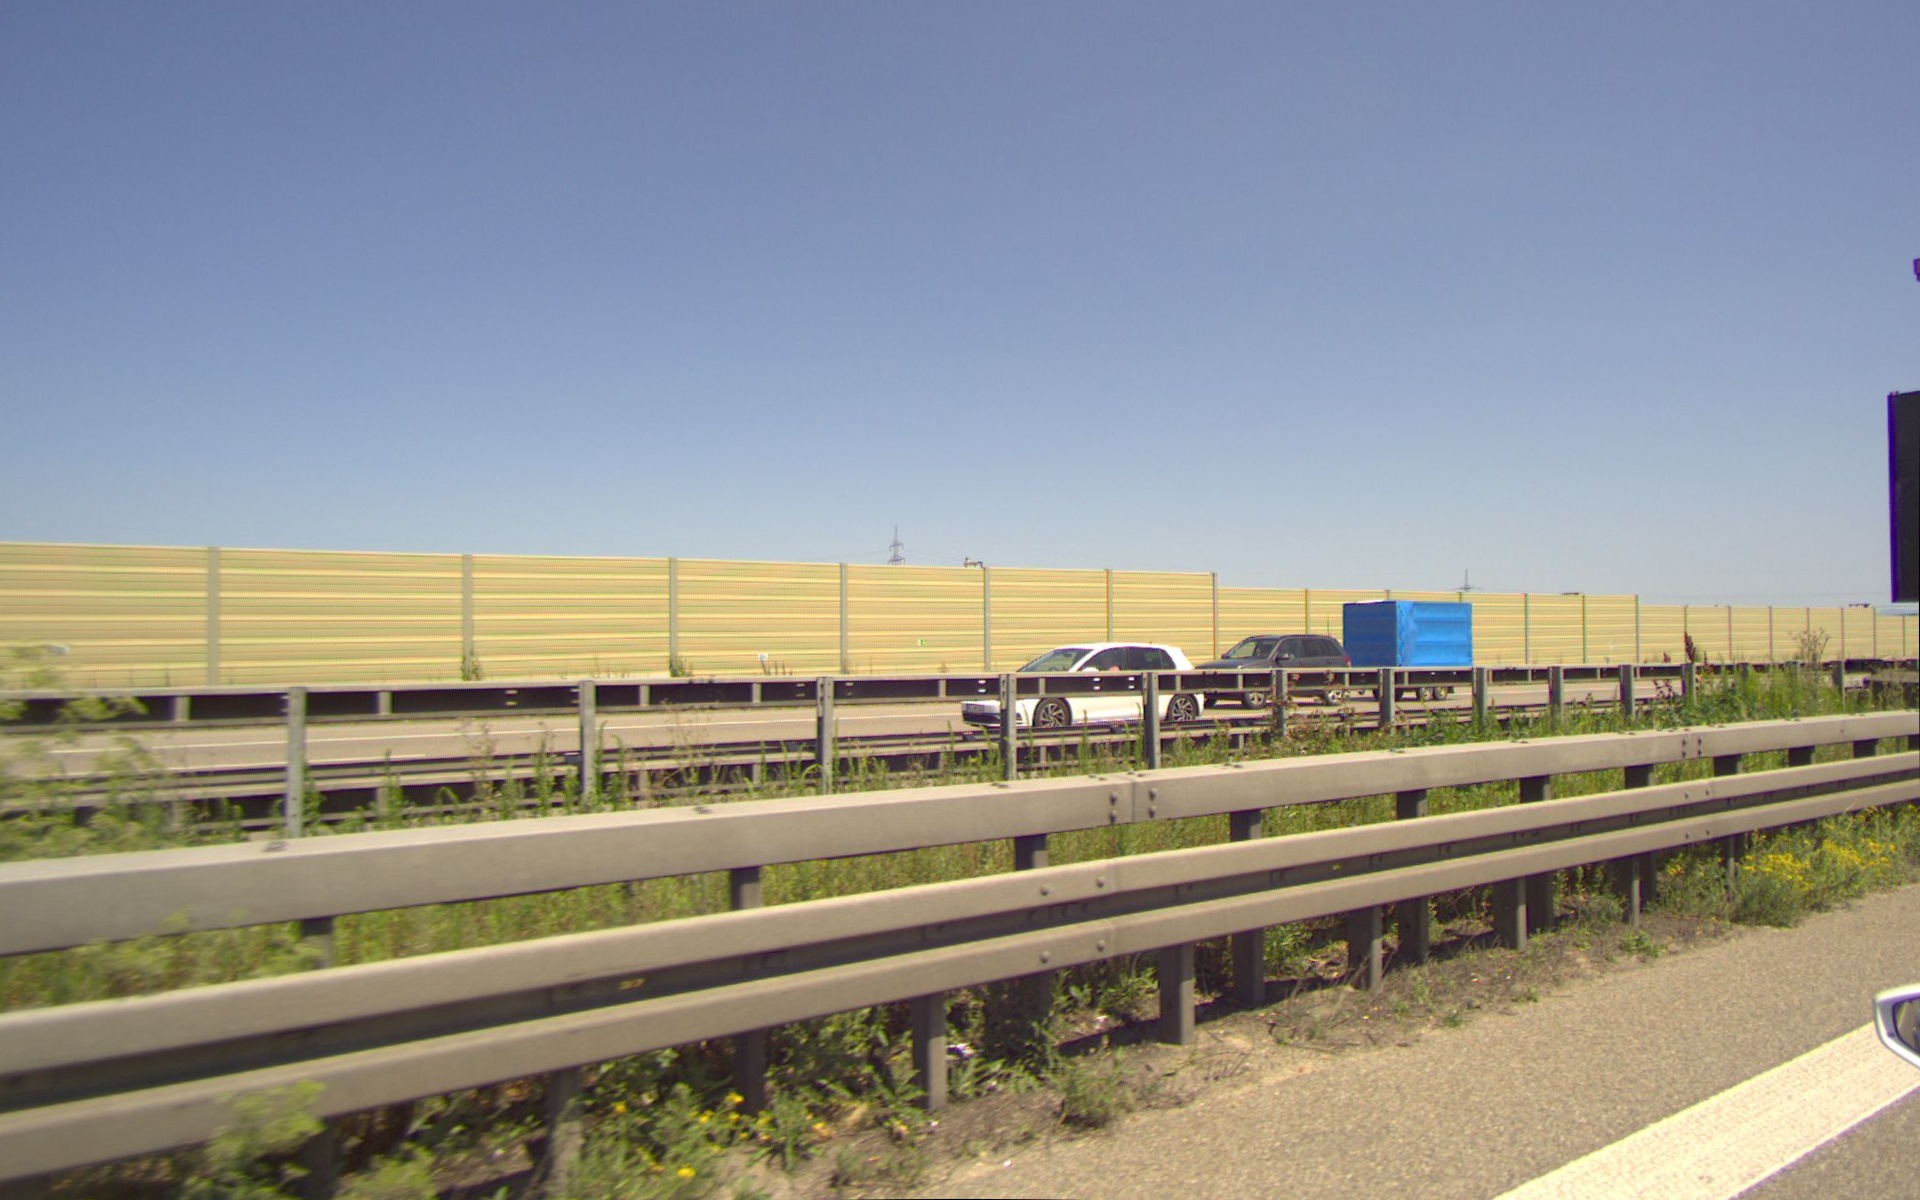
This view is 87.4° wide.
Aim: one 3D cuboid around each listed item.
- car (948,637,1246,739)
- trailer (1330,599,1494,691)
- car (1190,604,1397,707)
[{"bbox_3d":[2.279,1.378,16.297,4.671,1.449,1.884,2,-4,-31],"label":"car"},{"bbox_3d":[12.129,1.186,26.917,4.157,2.267,1.983,2,0,-31],"label":"trailer"},{"bbox_3d":[8.168,1.296,24.468,5.040,2.254,1.983,2,0,-31],"label":"car"}]
